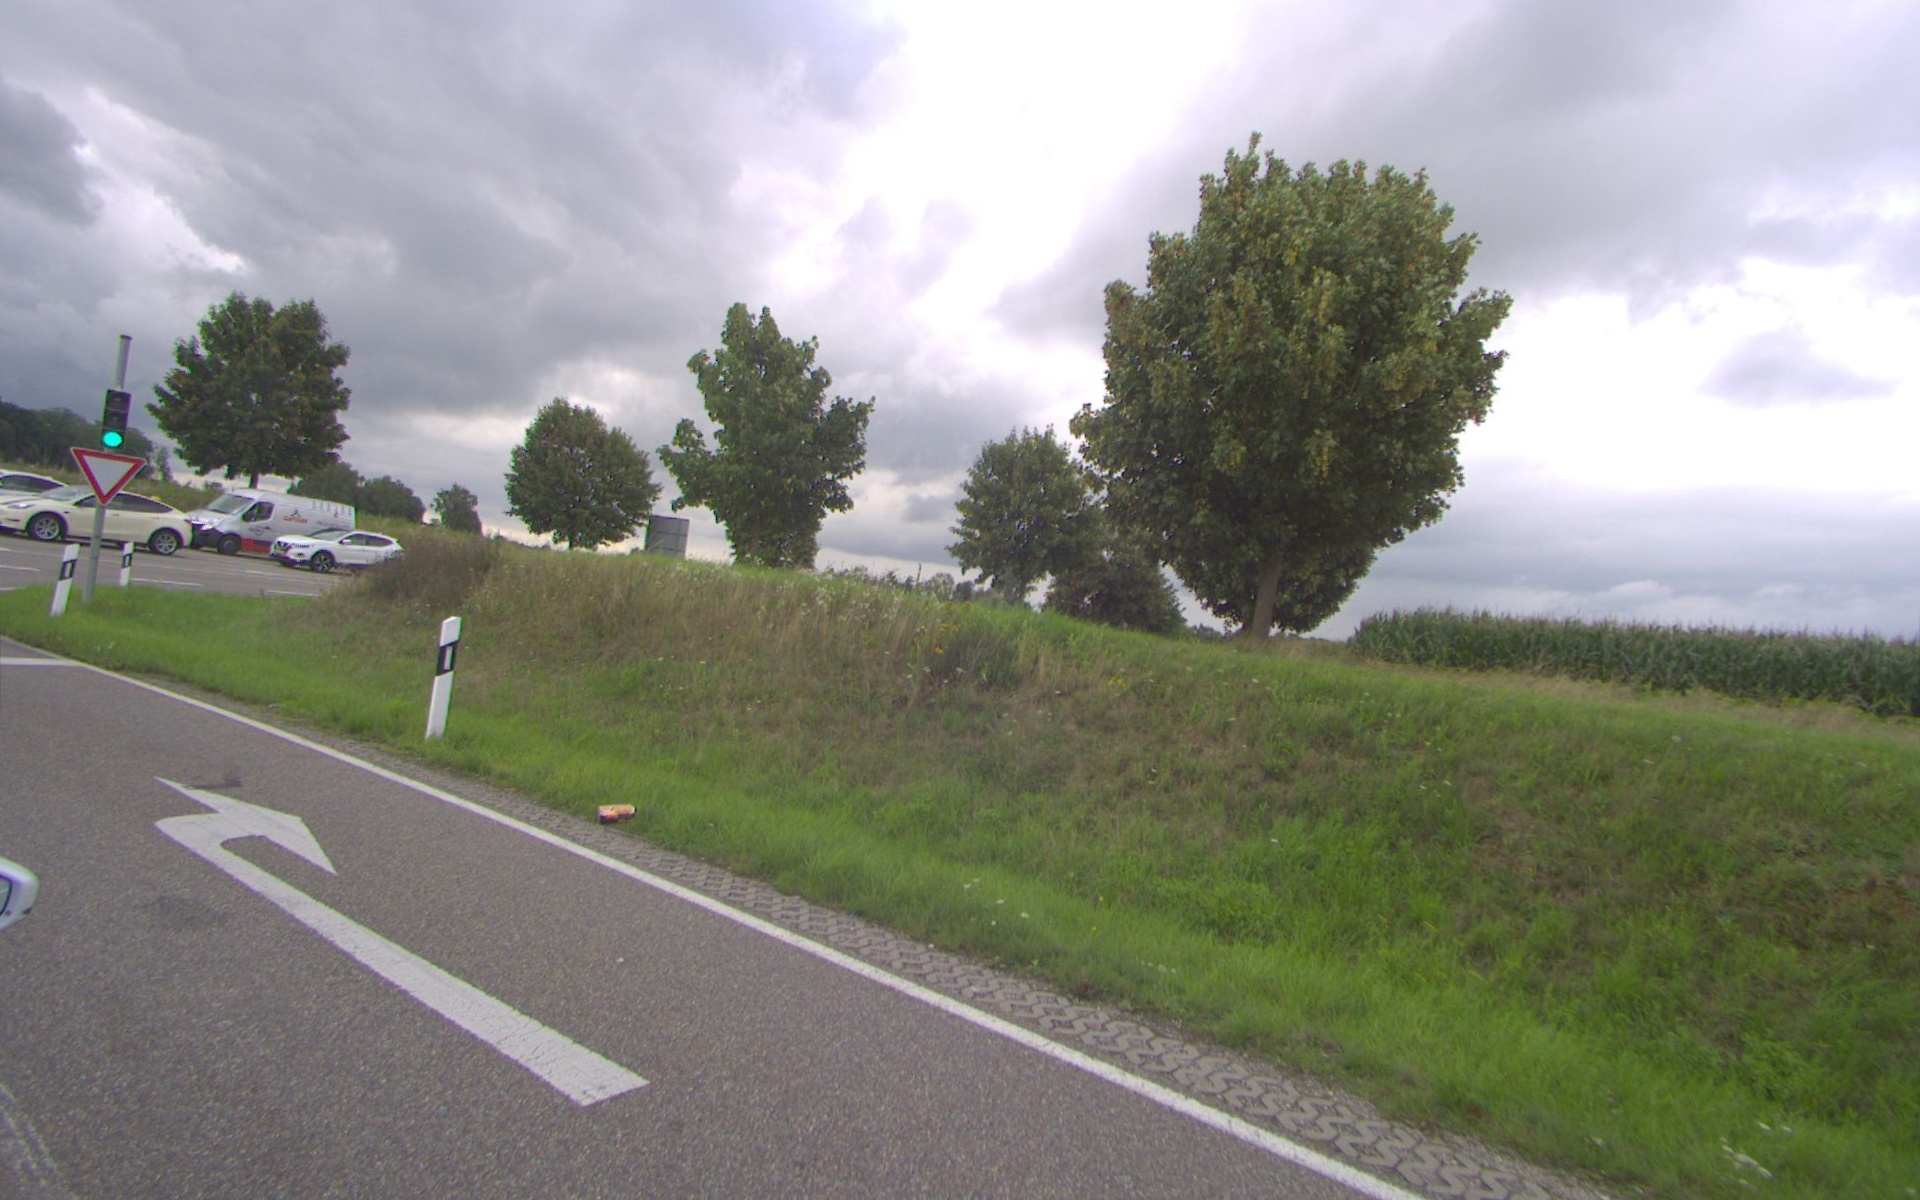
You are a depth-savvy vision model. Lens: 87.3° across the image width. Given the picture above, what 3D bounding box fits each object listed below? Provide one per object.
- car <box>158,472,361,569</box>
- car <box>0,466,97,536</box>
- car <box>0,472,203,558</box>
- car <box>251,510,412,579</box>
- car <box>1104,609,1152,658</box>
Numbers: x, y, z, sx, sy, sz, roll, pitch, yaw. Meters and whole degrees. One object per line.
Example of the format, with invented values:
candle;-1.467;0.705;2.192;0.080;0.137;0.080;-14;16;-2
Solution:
car;-25.310;-2.788;36.658;2.354;2.469;5.517;8;-2;20
car;-27.787;-3.045;28.704;1.963;1.647;4.278;8;-2;19
car;-24.101;-2.342;27.750;1.963;1.582;4.752;8;-2;20
car;-21.751;-1.863;35.051;1.963;1.648;4.326;8;-2;20
car;8.304;1.695;49.499;1.962;2.036;4.006;7;-2;12
